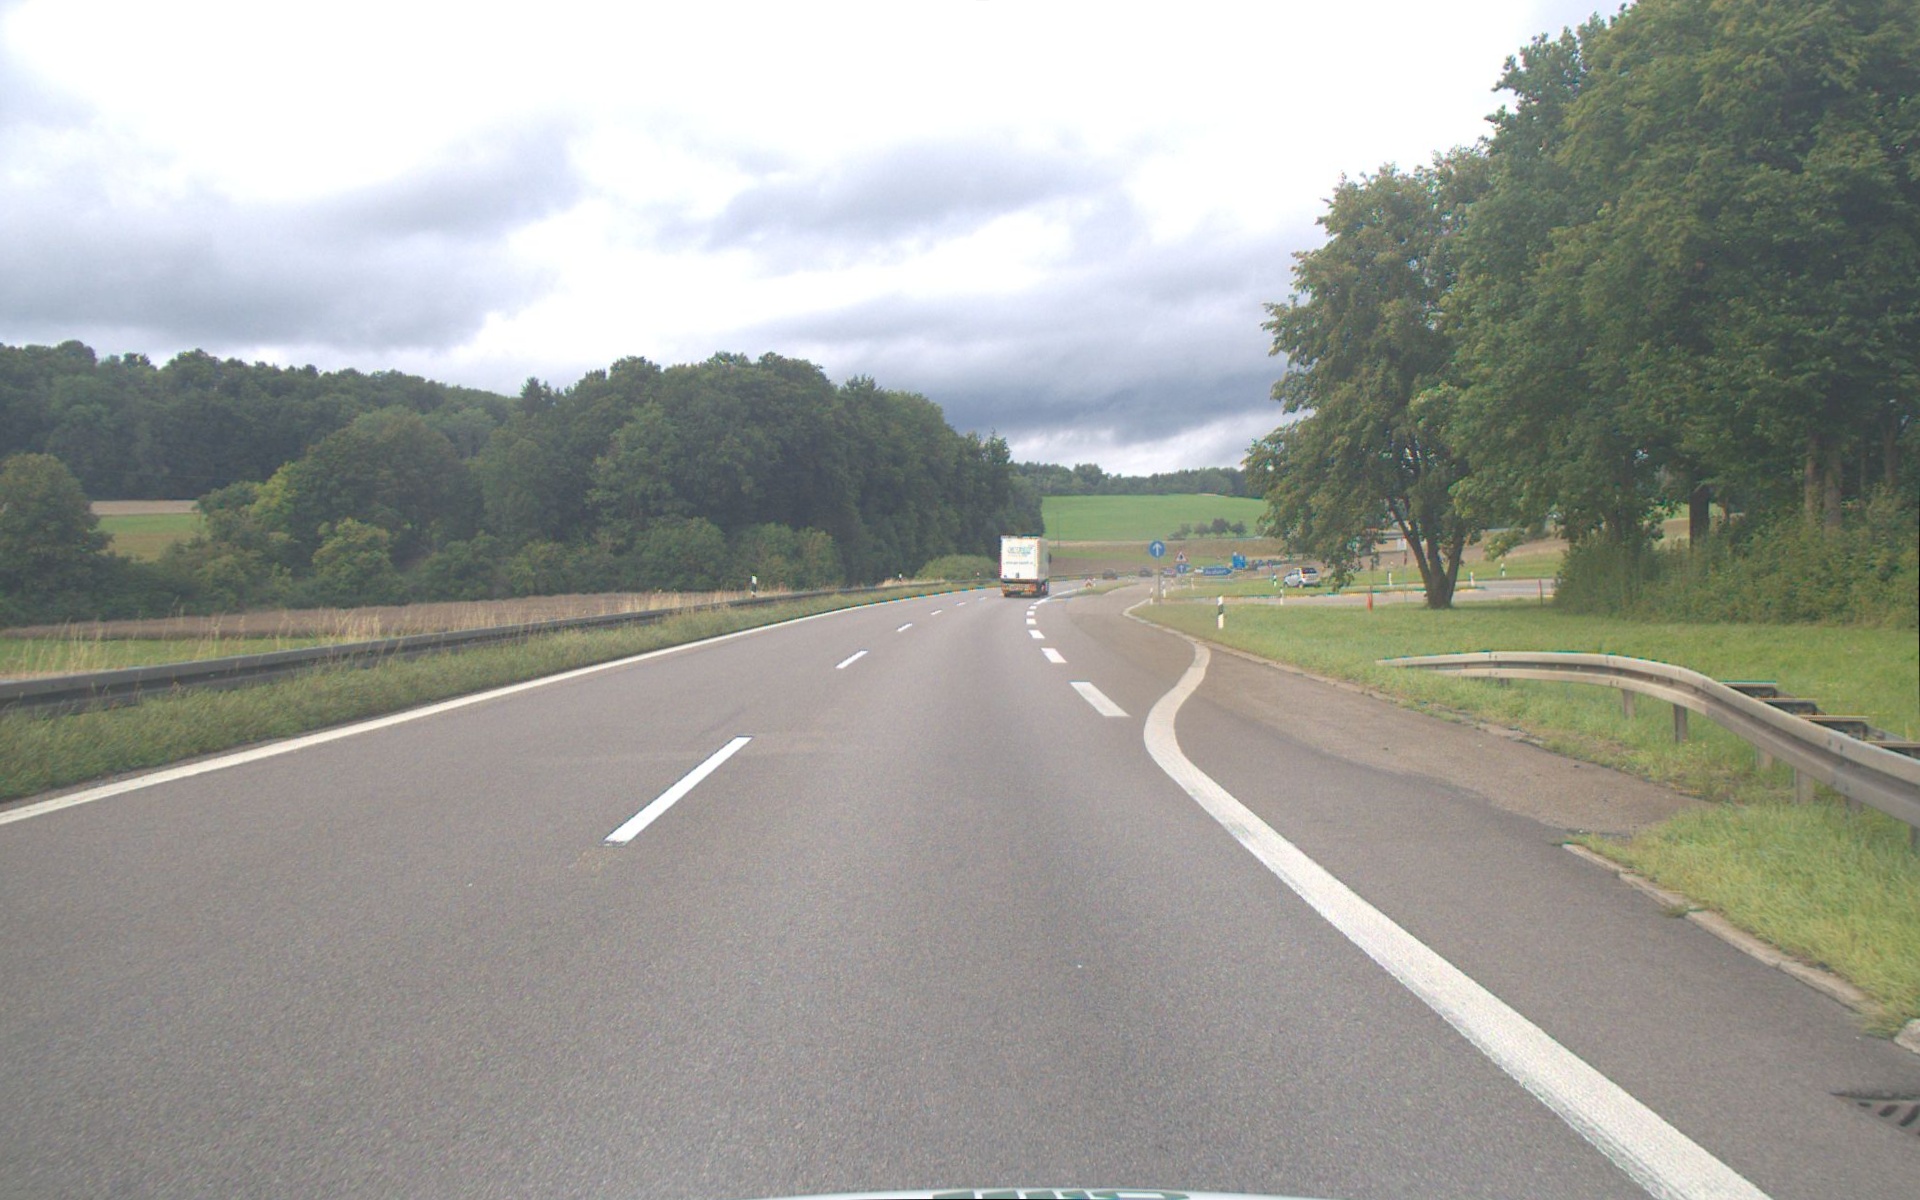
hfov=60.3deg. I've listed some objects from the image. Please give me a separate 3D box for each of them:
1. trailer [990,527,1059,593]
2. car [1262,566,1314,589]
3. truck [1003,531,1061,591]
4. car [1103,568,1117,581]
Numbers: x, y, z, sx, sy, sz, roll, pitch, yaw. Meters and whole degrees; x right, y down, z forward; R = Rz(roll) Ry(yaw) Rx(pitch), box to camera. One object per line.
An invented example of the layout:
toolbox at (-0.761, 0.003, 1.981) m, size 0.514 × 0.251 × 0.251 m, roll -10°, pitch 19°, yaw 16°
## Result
trailer at (4.626, -2.727, 114.583) m, size 3.725 × 4.247 × 14.820 m, roll 1°, pitch 1°, yaw 6°
car at (24.222, -1.670, 122.194) m, size 1.756 × 1.579 × 3.966 m, roll -1°, pitch 2°, yaw -26°
truck at (5.372, -2.889, 121.630) m, size 3.707 × 4.203 × 8.271 m, roll 1°, pitch 1°, yaw 6°
car at (22.300, -3.729, 246.445) m, size 1.862 × 1.826 × 4.003 m, roll 1°, pitch 0°, yaw 8°
